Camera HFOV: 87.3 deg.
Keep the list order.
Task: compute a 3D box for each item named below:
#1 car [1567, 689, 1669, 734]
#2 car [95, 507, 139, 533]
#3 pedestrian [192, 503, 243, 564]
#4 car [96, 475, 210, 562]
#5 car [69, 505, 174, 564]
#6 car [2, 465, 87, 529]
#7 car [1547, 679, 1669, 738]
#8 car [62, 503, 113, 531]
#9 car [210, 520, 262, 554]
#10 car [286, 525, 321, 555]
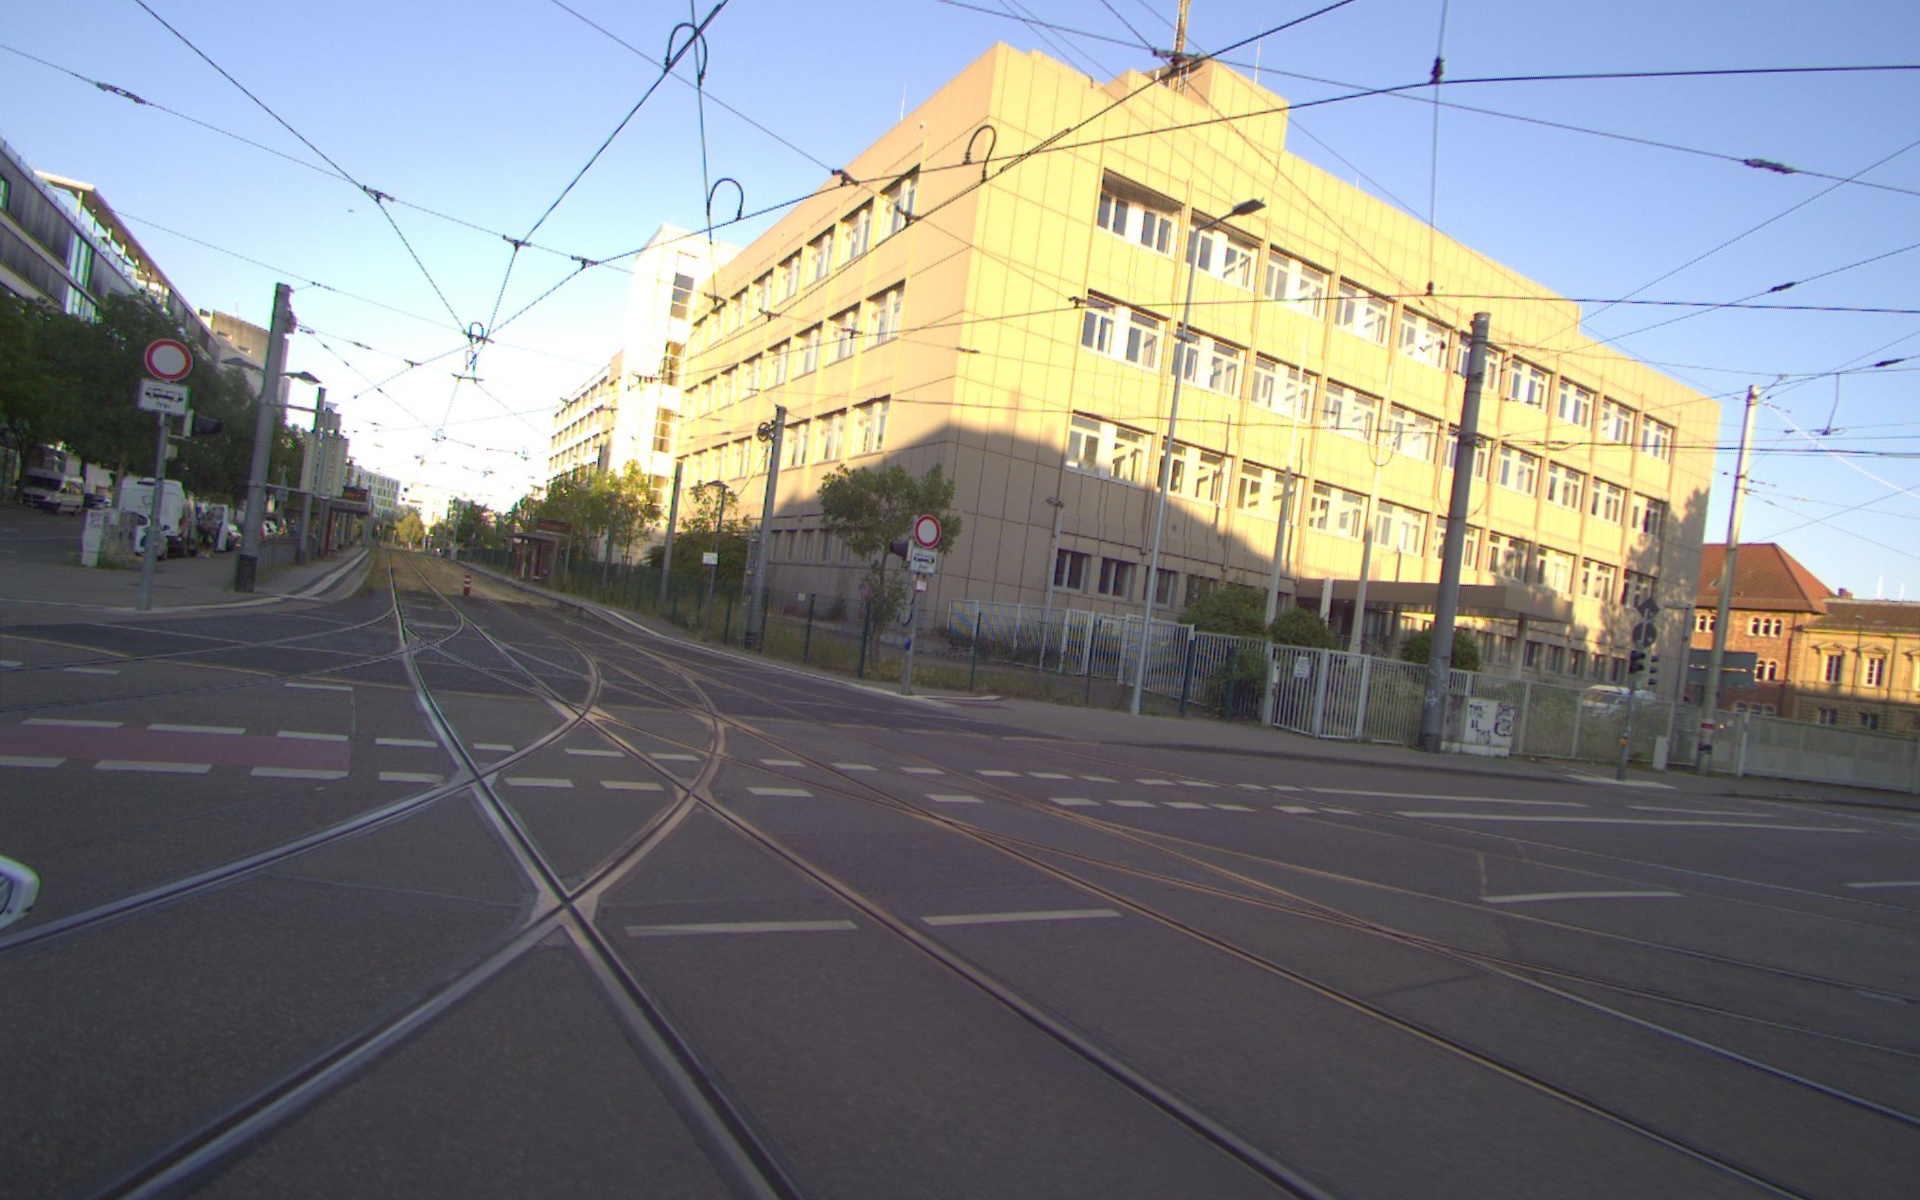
[{"bbox_3d":[34.267,5.785,52.491,1.813,1.633,3.973,9,-2,-27],"label":"car"},{"bbox_3d":[-63.137,-5.959,75.387,1.670,1.519,4.207,8,-1,-30],"label":"car"},{"bbox_3d":[-27.577,-2.463,37.348,0.968,2.054,1.041,7,0,32],"label":"pedestrian"},{"bbox_3d":[-28.628,-2.842,35.890,2.447,2.511,5.755,8,-1,-34],"label":"car"},{"bbox_3d":[-25.524,-1.967,30.772,1.671,1.456,4.094,8,-1,-30],"label":"car"},{"bbox_3d":[-54.999,-6.104,60.577,2.185,3.189,6.096,8,-1,-30],"label":"car"},{"bbox_3d":[28.069,4.710,43.556,5.041,1.896,2.258,8,-1,-30],"label":"car"},{"bbox_3d":[-59.529,-5.655,68.685,1.670,1.519,4.207,8,-1,-30],"label":"car"},{"bbox_3d":[-37.759,-3.263,52.525,1.671,1.456,4.094,8,-1,-30],"label":"car"},{"bbox_3d":[-52.001,-4.754,79.740,1.981,2.037,3.966,8,-1,-32],"label":"car"}]
